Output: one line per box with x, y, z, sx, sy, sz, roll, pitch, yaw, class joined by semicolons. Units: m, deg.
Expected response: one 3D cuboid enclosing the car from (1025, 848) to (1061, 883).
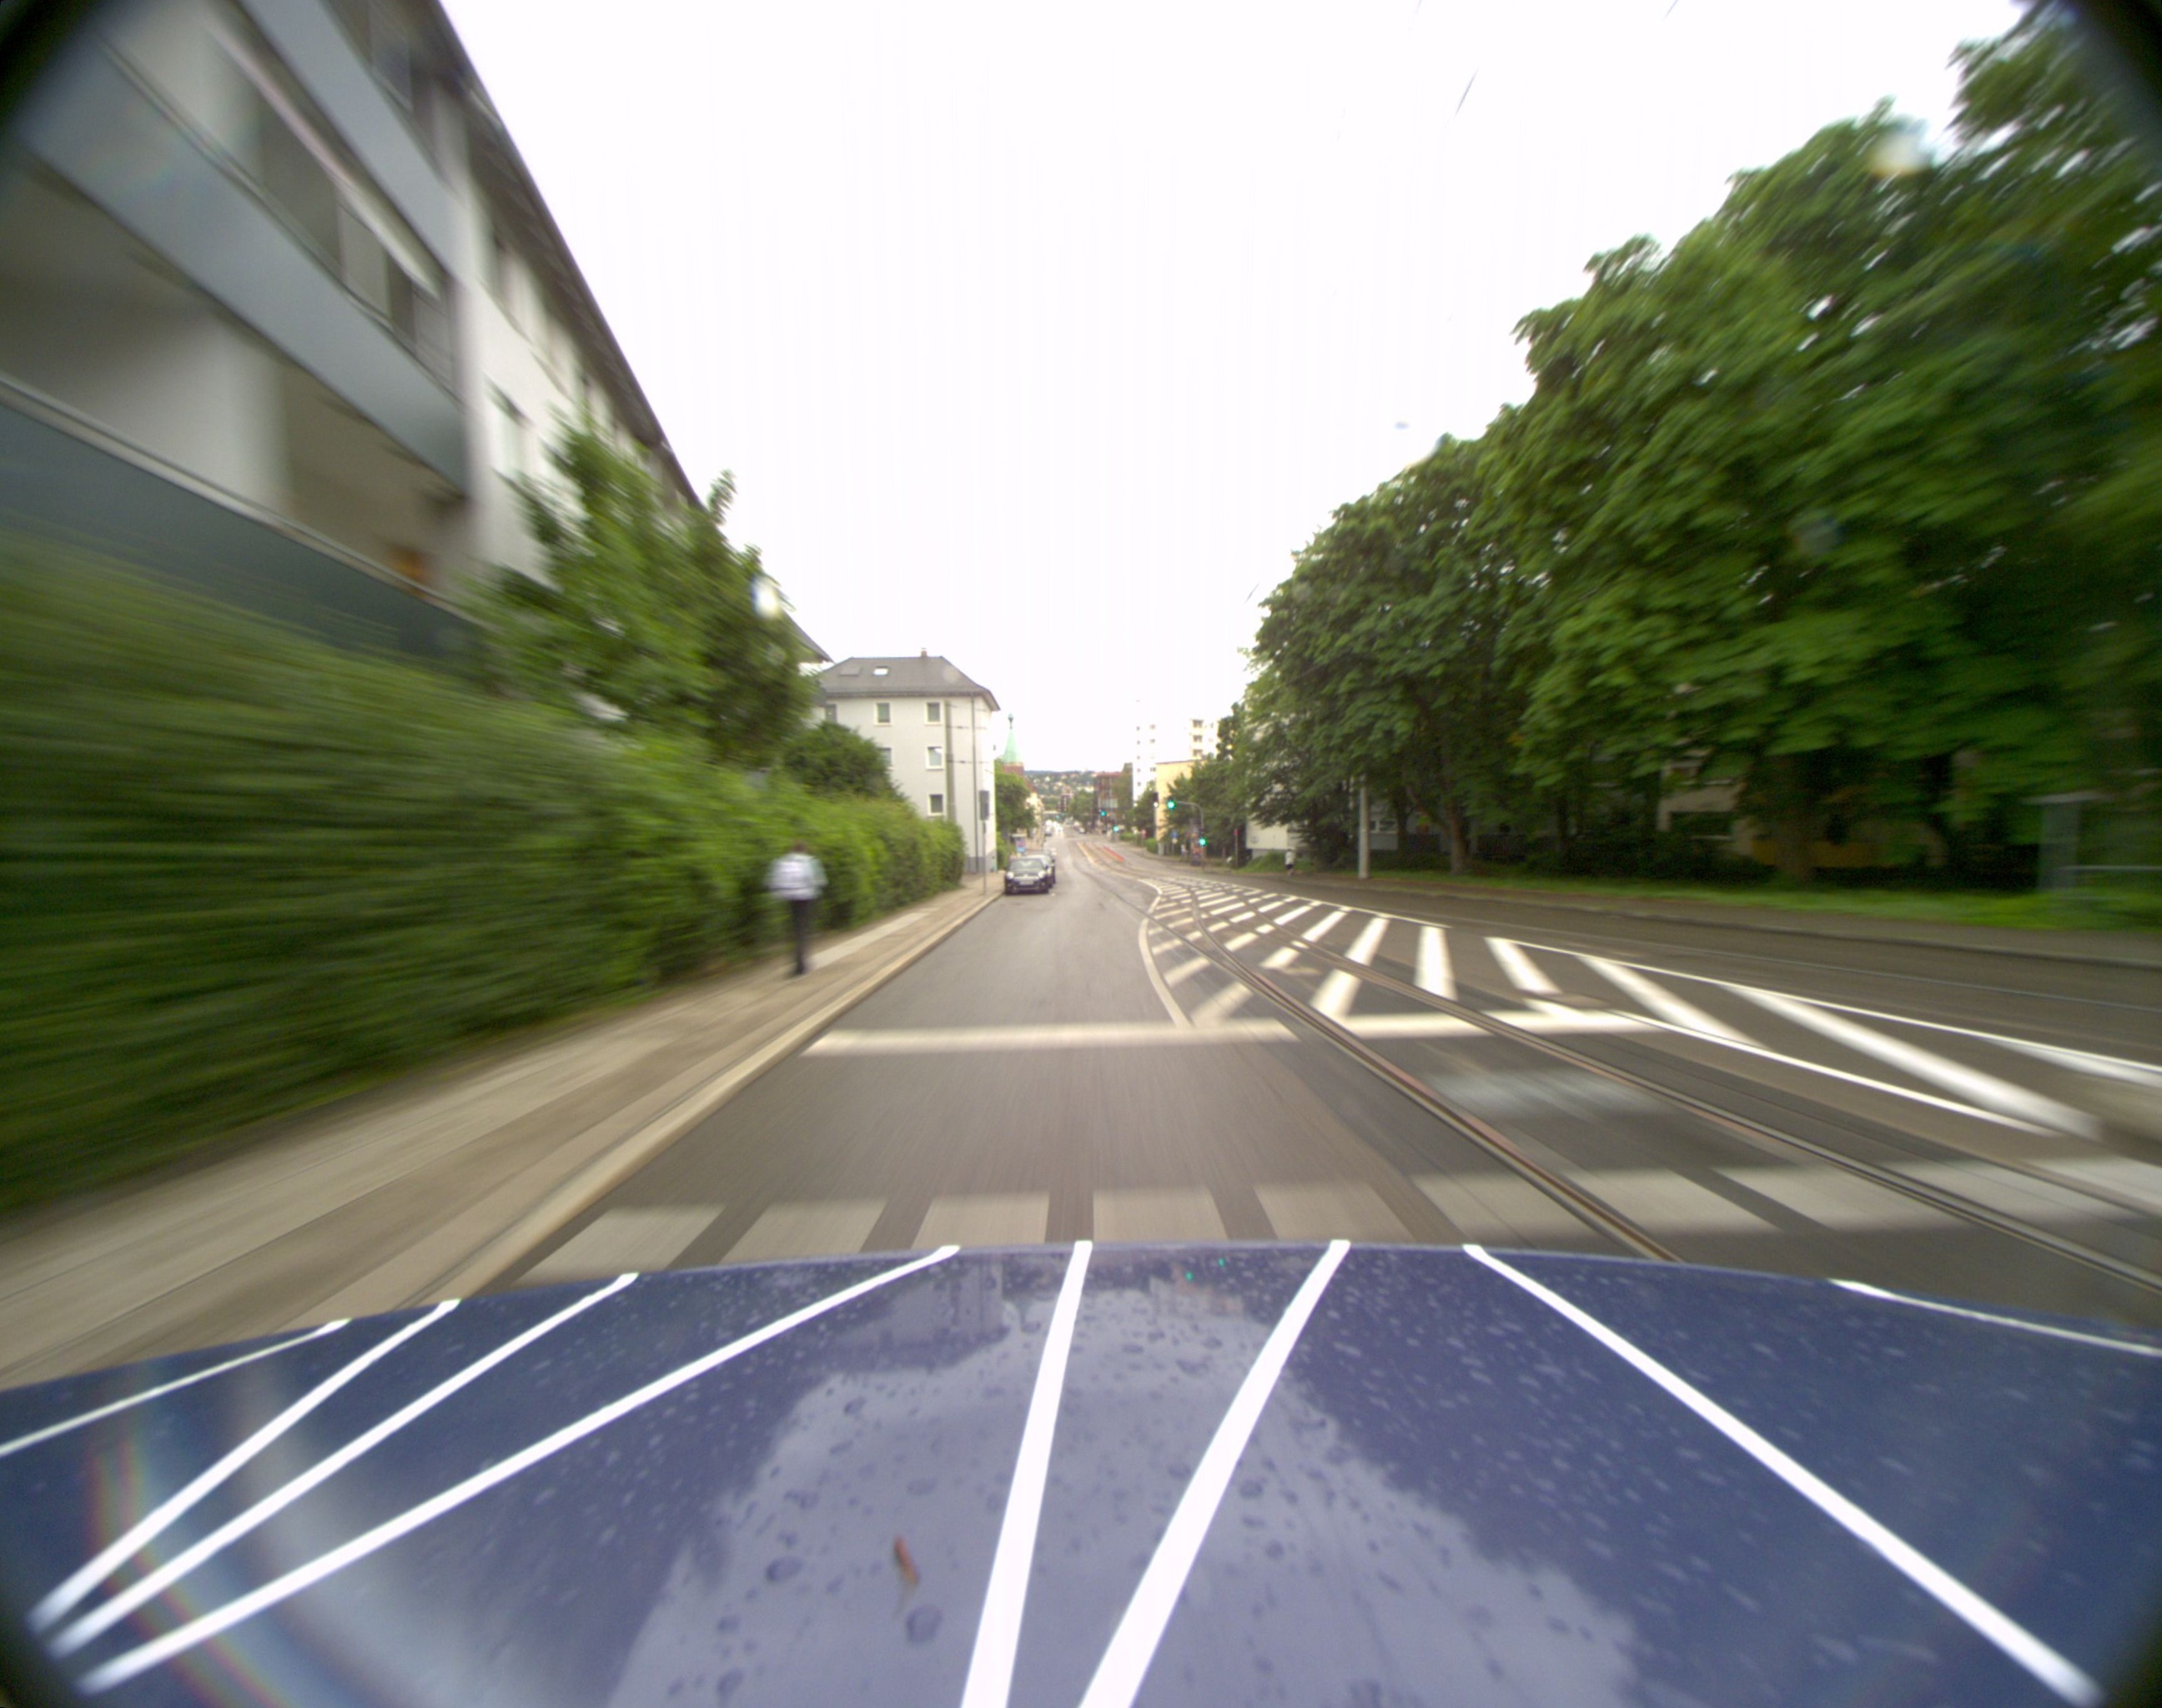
-2.015;0.592;41.297;1.726;1.673;3.999;-2;1;-1;car

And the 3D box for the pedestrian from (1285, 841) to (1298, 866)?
12.185;-0.039;44.054;0.529;1.418;0.528;-3;2;0;pedestrian

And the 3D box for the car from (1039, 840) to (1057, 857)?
-3.539;-0.626;81.832;1.726;1.673;3.999;-2;1;-1;car

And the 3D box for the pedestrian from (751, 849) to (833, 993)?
-3.354;0.758;8.868;0.657;1.611;0.630;-1;2;3;pedestrian

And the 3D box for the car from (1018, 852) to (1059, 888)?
-1.956;0.725;35.930;1.726;1.480;3.999;-2;1;-1;car

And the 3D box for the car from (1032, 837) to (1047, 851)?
-5.247;-1.303;95.813;1.726;1.673;3.999;-2;1;-1;car

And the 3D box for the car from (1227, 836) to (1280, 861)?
13.829;-0.435;61.145;3.994;1.740;2.001;-3;1;9;car

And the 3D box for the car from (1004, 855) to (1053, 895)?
-2.036;0.804;30.414;1.726;1.350;3.999;-2;1;-1;car
